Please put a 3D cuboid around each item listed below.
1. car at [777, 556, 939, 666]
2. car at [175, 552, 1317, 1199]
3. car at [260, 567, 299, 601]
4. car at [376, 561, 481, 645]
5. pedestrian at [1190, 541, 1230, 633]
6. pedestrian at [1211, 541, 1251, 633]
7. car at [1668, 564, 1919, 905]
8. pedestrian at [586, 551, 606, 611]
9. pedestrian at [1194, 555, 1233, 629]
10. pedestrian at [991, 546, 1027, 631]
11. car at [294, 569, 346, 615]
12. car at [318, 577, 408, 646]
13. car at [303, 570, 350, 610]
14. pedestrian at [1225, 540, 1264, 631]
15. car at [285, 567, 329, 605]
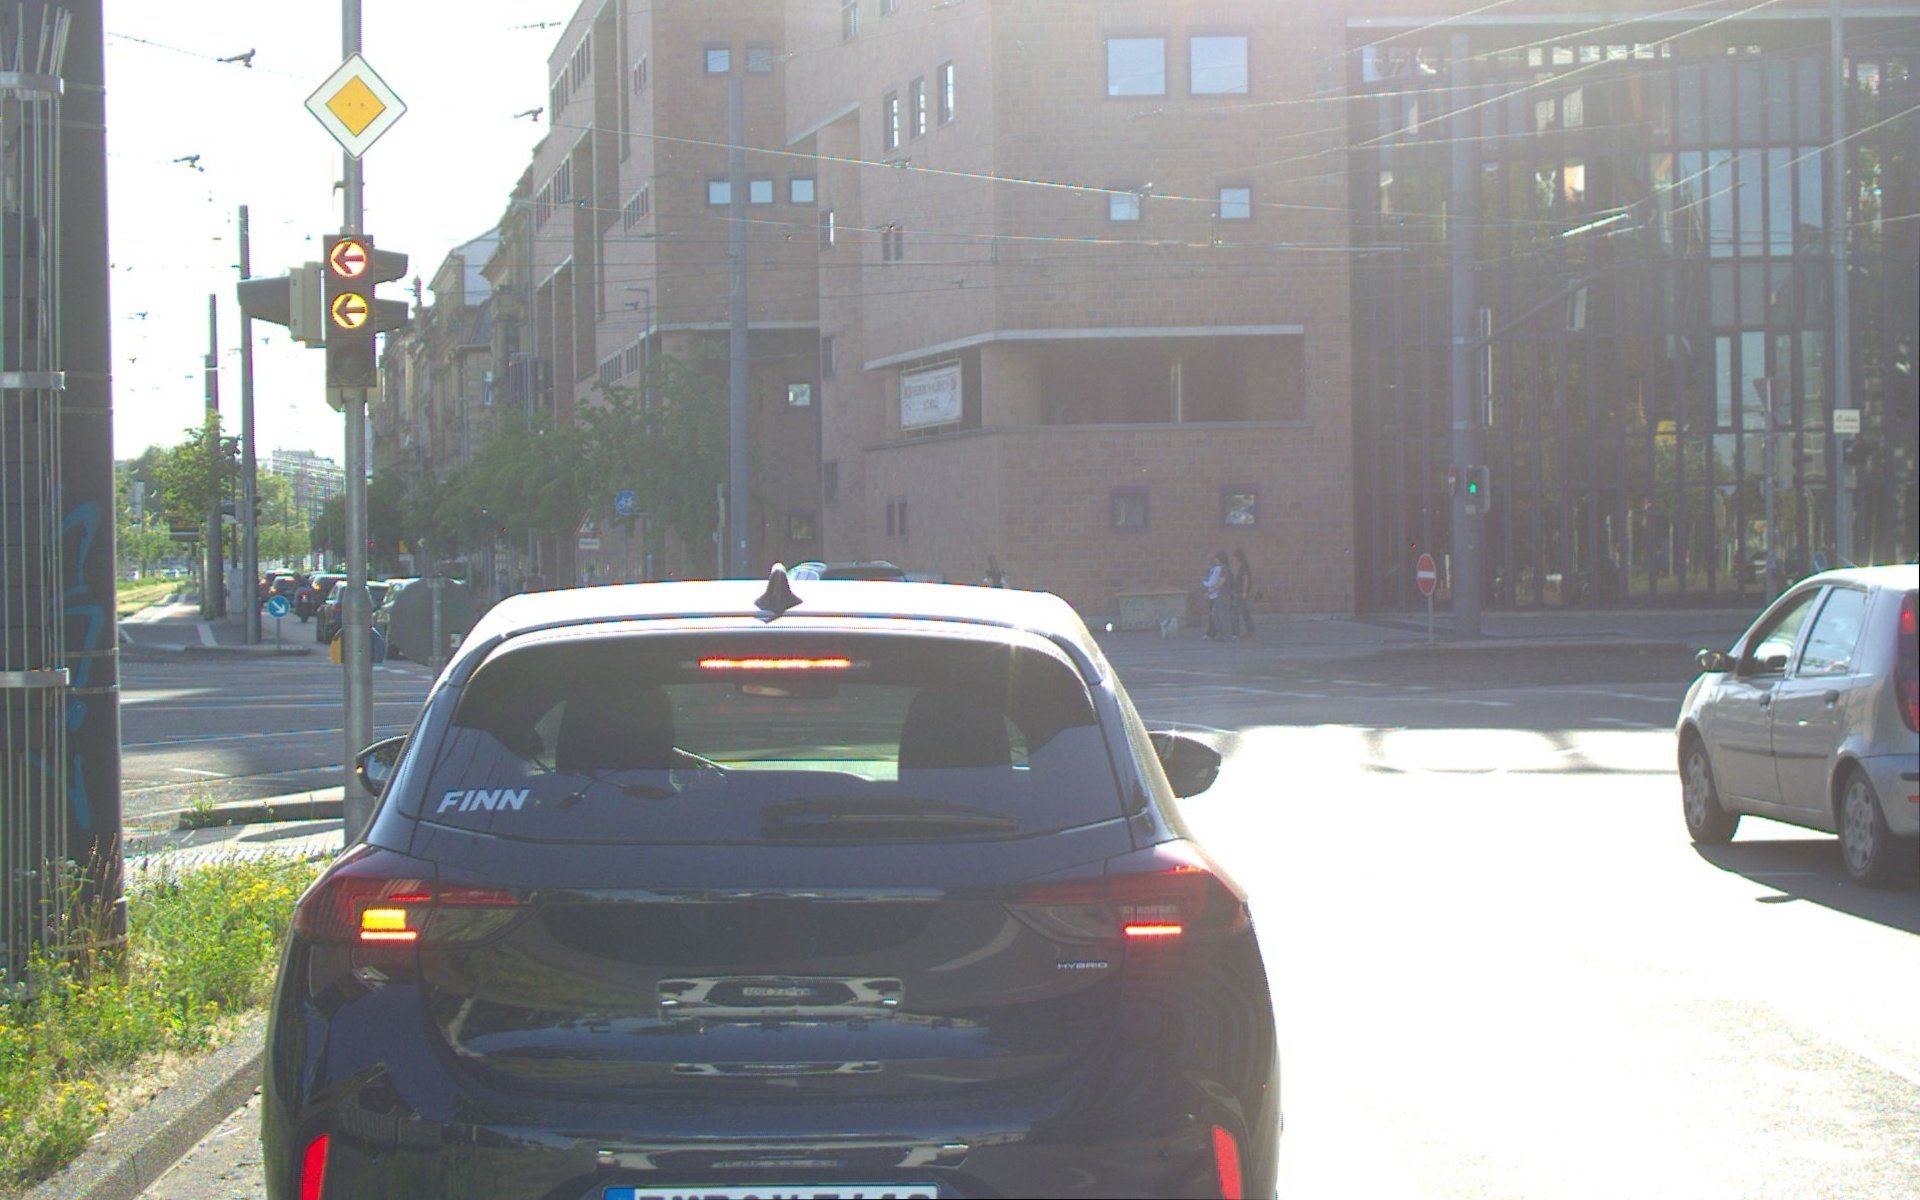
[{"bbox_3d":[-1.484,0.126,48.831,1.670,1.448,3.699,-2,1,-11],"label":"car"},{"bbox_3d":[-0.338,0.664,6.905,1.672,1.496,3.691,1,1,-1],"label":"car"},{"bbox_3d":[-29.902,-0.720,150.934,1.514,1.448,3.585,-2,1,-13],"label":"car"},{"bbox_3d":[-9.807,0.025,63.279,1.720,1.448,3.699,-2,1,-11],"label":"car"},{"bbox_3d":[4.918,-0.264,67.653,0.571,1.780,0.549,-2,1,-19],"label":"pedestrian"},{"bbox_3d":[5.285,-0.252,67.064,0.571,1.780,0.549,-2,1,-19],"label":"pedestrian"},{"bbox_3d":[4.678,0.566,16.712,1.559,1.451,3.432,-1,1,-4],"label":"car"},{"bbox_3d":[-10.967,-0.569,103.469,0.547,1.780,0.573,-1,3,-8],"label":"pedestrian"},{"bbox_3d":[5.122,-0.166,69.579,0.547,1.472,0.573,-2,2,-29],"label":"pedestrian"},{"bbox_3d":[1.028,-0.244,72.495,0.640,1.780,0.688,-2,1,-6],"label":"pedestrian"},{"bbox_3d":[-21.221,-0.272,113.920,1.514,1.448,3.585,-2,1,-13],"label":"car"},{"bbox_3d":[-13.310,0.232,76.551,1.720,1.448,3.699,-2,1,-13],"label":"car"},{"bbox_3d":[-23.619,-0.387,128.056,1.514,1.448,3.585,-2,1,-13],"label":"car"},{"bbox_3d":[5.670,-0.292,68.523,0.571,1.780,0.549,-2,1,-19],"label":"pedestrian"},{"bbox_3d":[-26.080,-0.554,137.280,1.514,1.448,3.585,-2,1,-13],"label":"car"}]
